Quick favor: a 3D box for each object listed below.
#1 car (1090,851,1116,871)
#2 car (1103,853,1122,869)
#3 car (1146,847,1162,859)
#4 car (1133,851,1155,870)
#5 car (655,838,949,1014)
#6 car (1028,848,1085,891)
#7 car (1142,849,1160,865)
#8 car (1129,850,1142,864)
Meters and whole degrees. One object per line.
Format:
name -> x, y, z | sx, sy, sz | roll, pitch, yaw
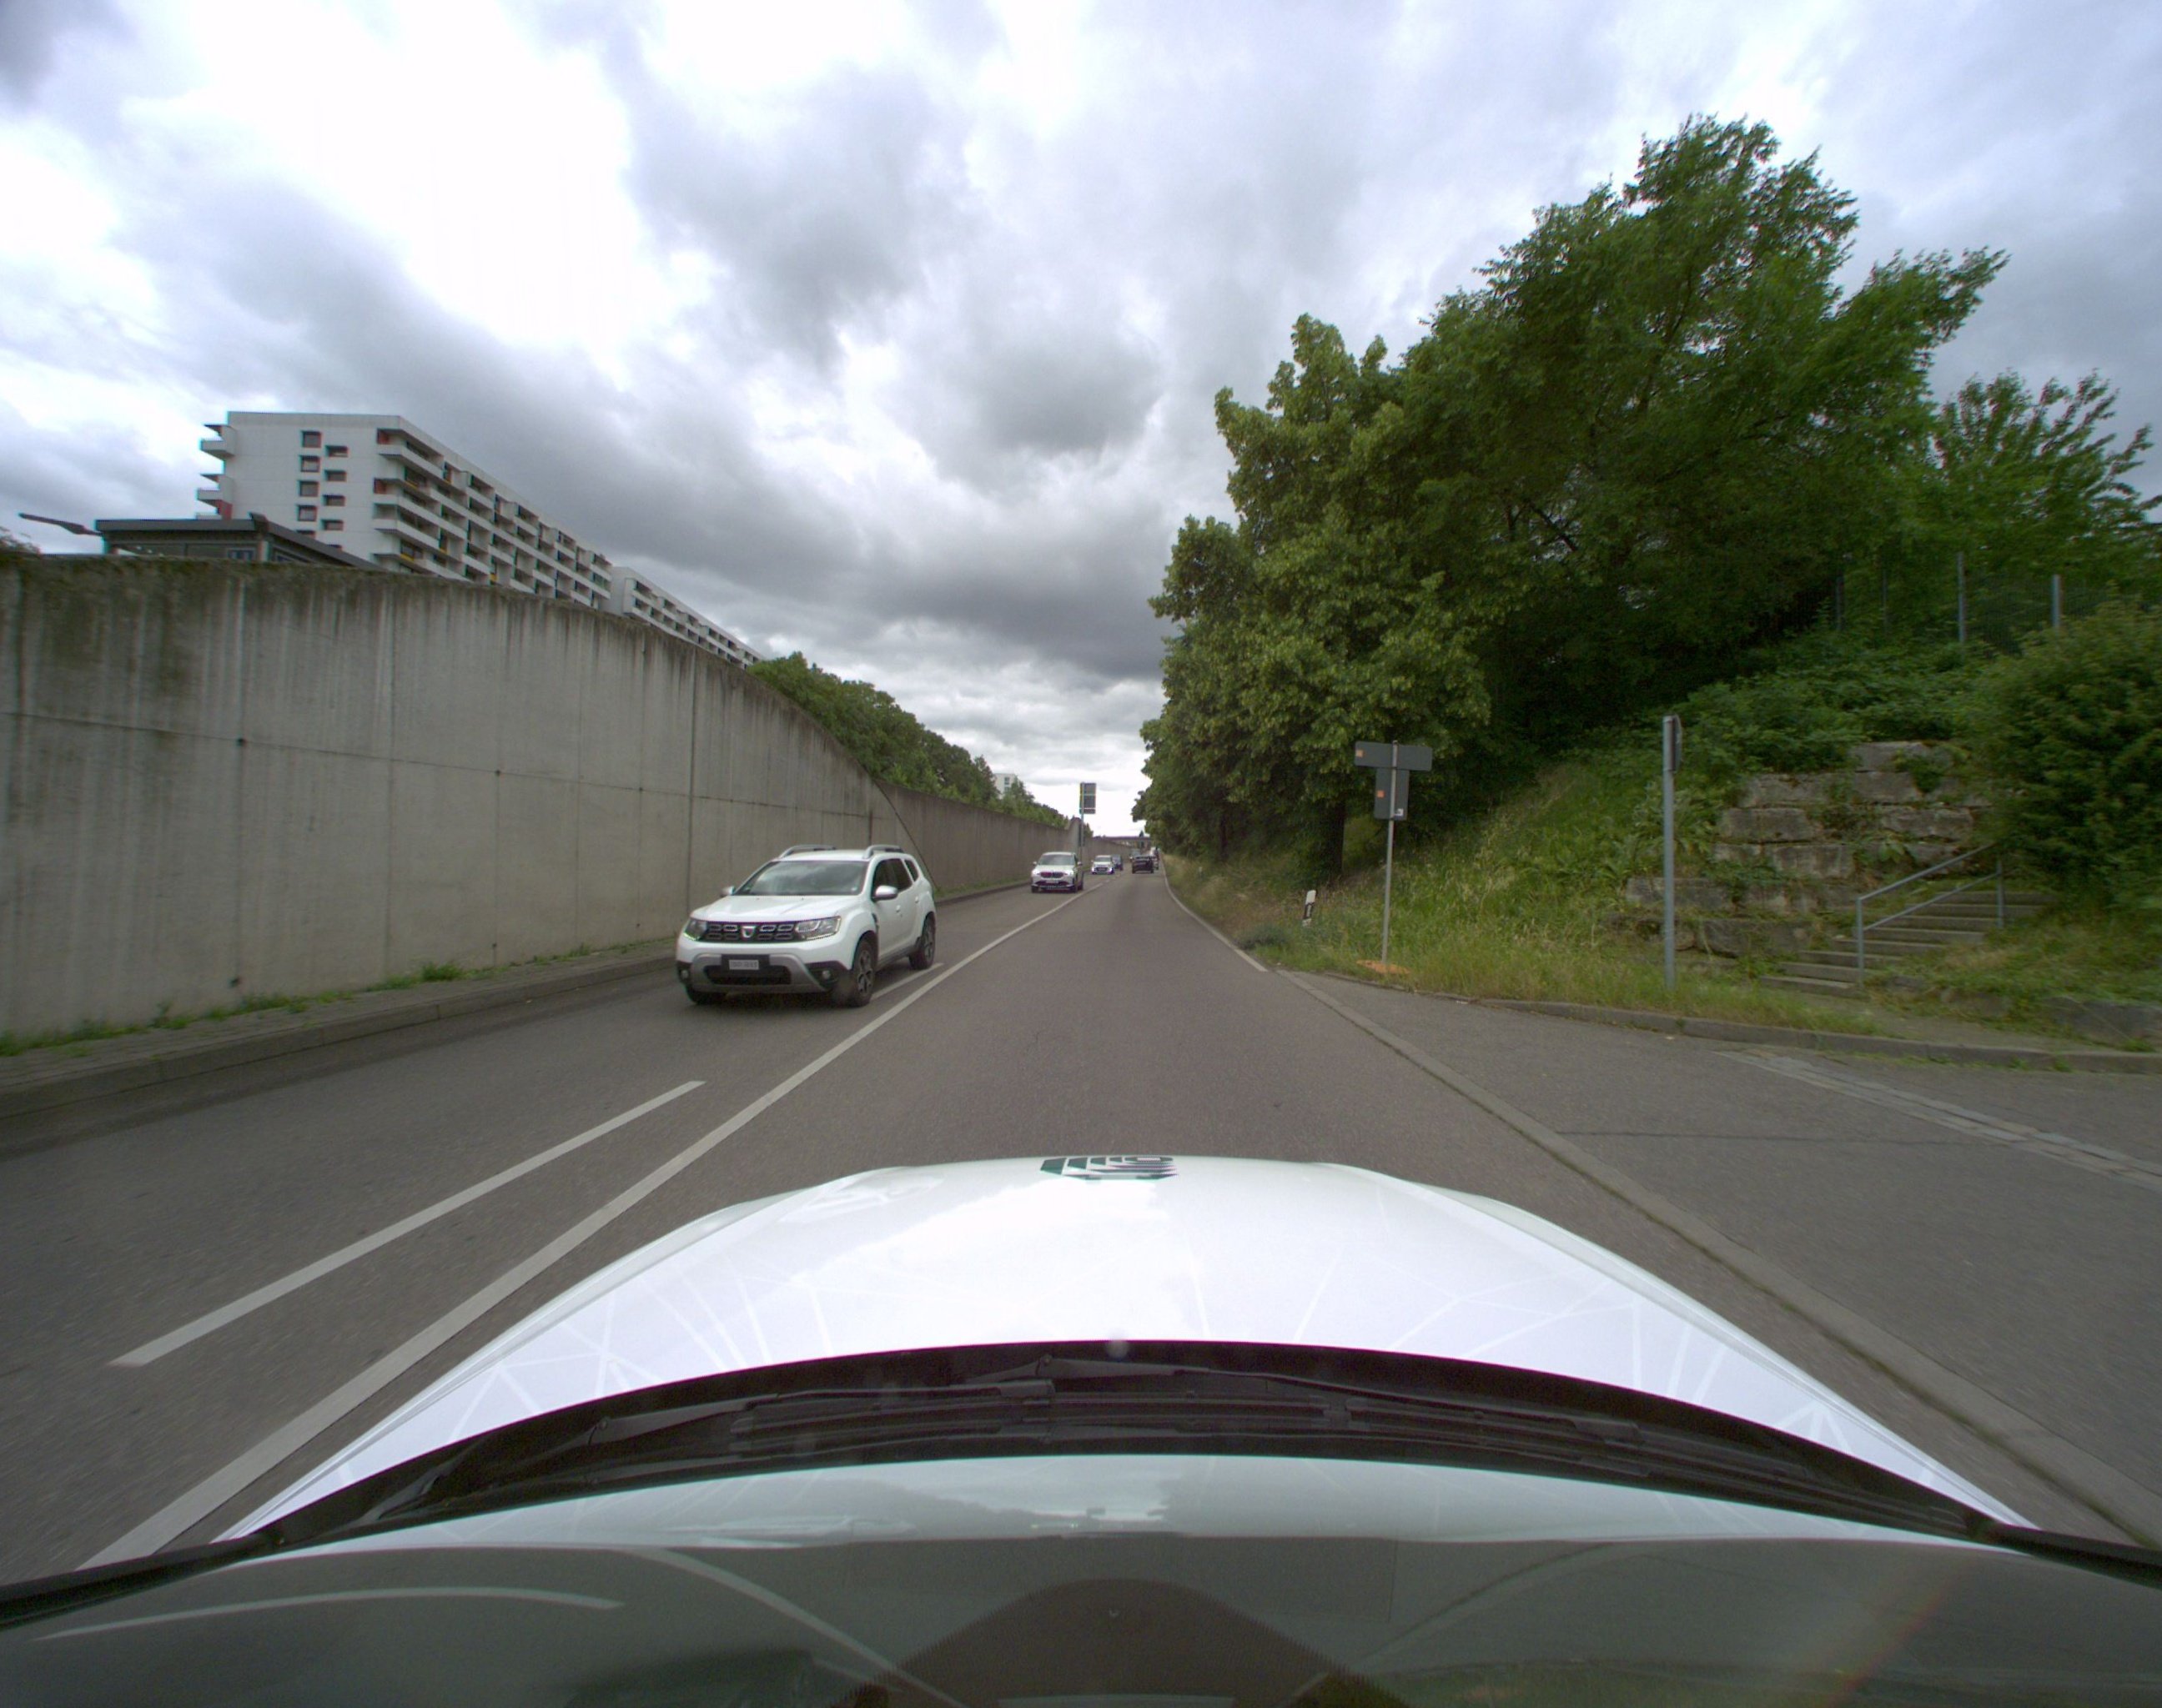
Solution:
car -> 1.749, 0.555, 64.119 | 1.907, 1.495, 4.211 | 0, 0, 3
car -> 3.076, 0.655, 78.928 | 1.760, 1.495, 4.211 | 0, 0, 3
car -> 9.701, -0.134, 108.274 | 1.858, 1.490, 4.261 | 3, 0, 4
car -> 5.200, 0.557, 66.899 | 1.746, 1.524, 4.040 | 0, -2, 4
car -> -2.968, 0.659, 9.750 | 1.854, 1.632, 4.211 | 0, 0, 3
car -> -0.951, 0.600, 33.845 | 1.881, 1.632, 4.432 | 1, 0, 5
car -> 7.192, 0.321, 83.945 | 1.746, 1.523, 4.040 | -1, -2, 4
car -> 10.488, 0.599, 156.574 | 2.099, 2.630, 7.429 | 0, 0, 6
